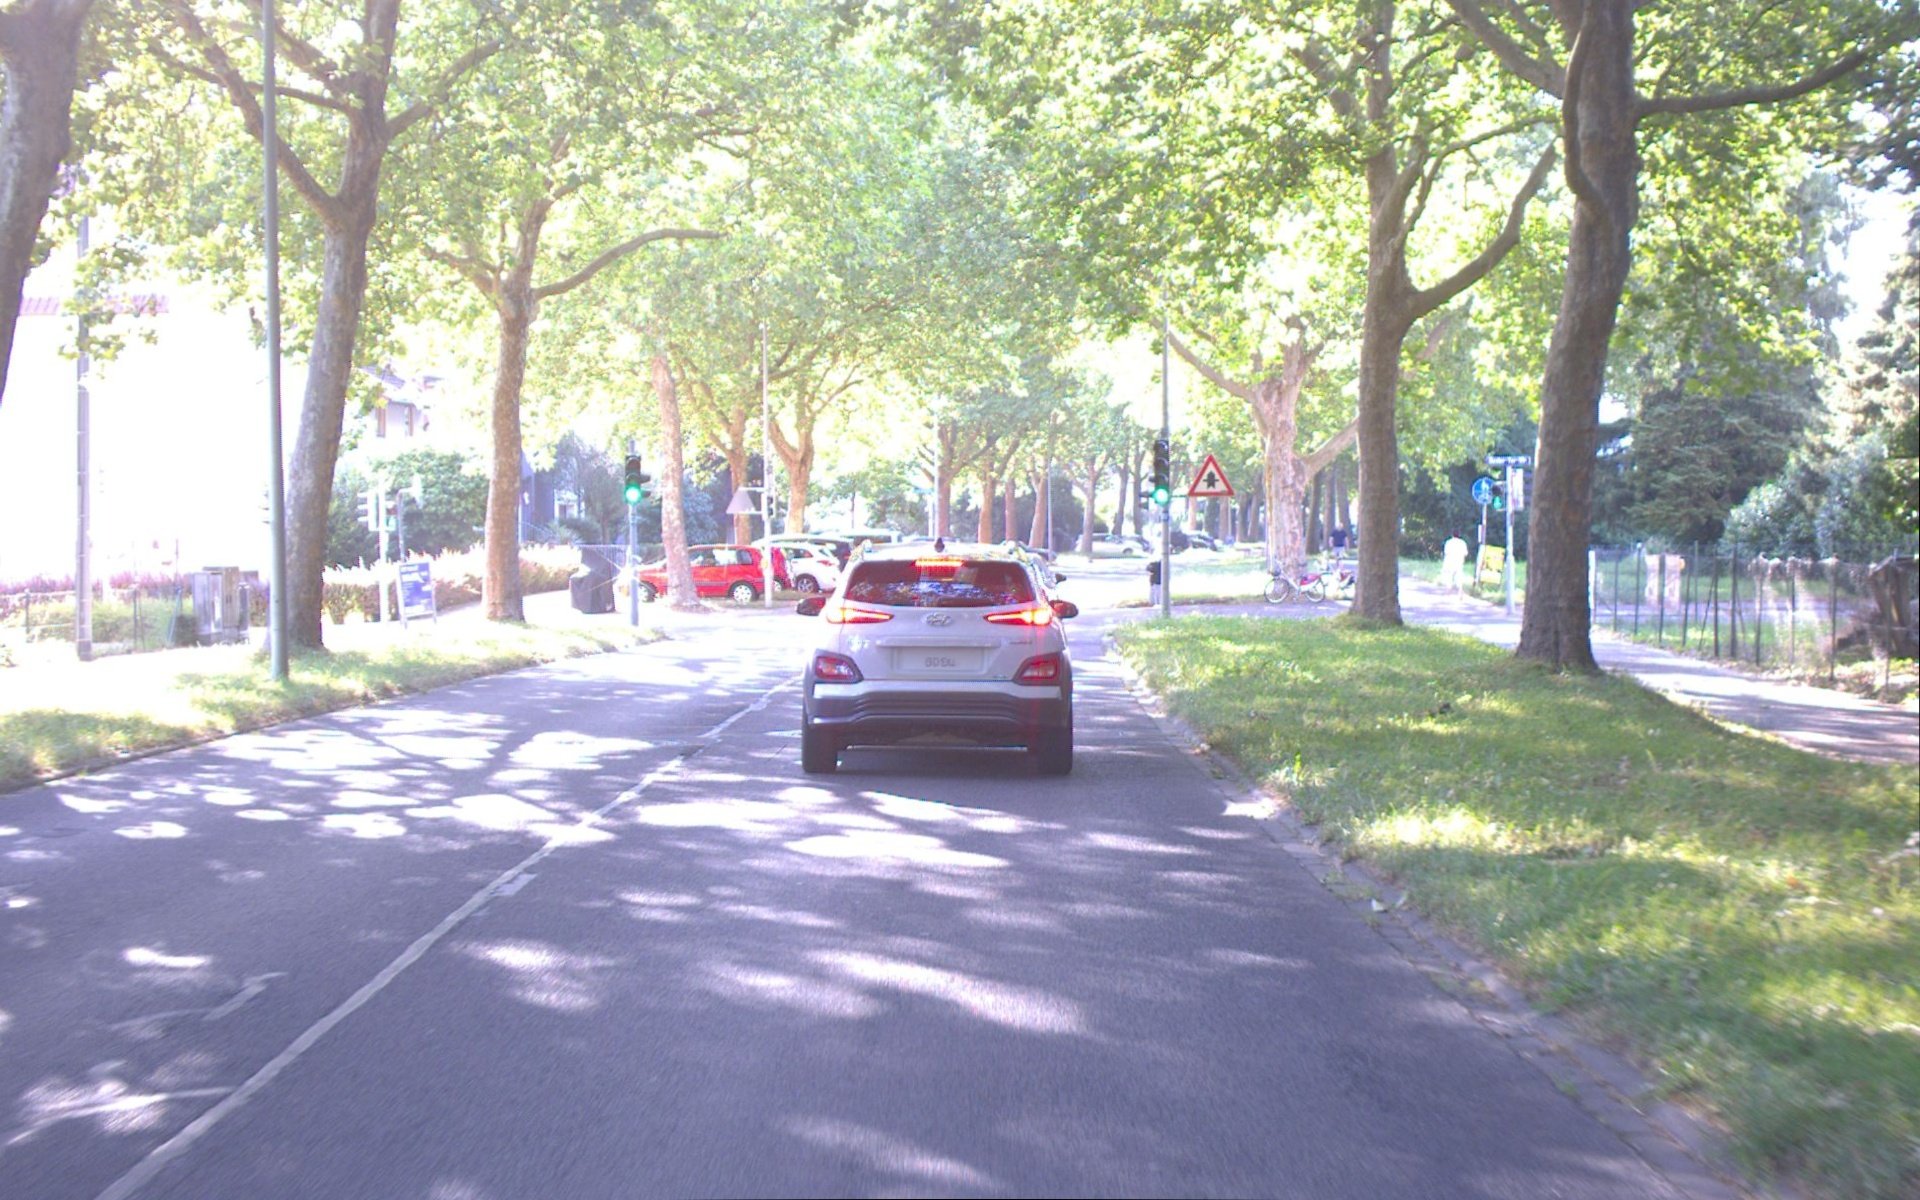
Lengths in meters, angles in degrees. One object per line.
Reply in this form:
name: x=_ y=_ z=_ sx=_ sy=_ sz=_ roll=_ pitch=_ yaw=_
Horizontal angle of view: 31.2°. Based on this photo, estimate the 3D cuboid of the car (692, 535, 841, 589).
car: x=-5.447 y=-1.074 z=97.151 sx=3.987 sy=1.473 sz=2.000 roll=1 pitch=0 yaw=4

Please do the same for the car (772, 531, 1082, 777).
car: x=-0.180 y=0.326 z=24.307 sx=1.993 sy=1.569 sz=4.000 roll=1 pitch=1 yaw=1

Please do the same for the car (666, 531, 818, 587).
car: x=-5.992 y=-1.117 z=94.784 sx=3.987 sy=1.473 sz=2.000 roll=1 pitch=0 yaw=2

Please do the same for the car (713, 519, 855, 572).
car: x=-5.159 y=-1.591 z=101.038 sx=3.987 sy=1.473 sz=2.000 roll=1 pitch=0 yaw=2

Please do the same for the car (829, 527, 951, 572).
car: x=-2.362 y=-1.719 z=116.801 sx=3.987 sy=1.473 sz=2.000 roll=1 pitch=0 yaw=2

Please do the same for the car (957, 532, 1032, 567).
car: x=1.760 y=-2.631 z=178.449 sx=3.668 sy=1.802 sz=1.749 roll=0 pitch=1 yaw=-7

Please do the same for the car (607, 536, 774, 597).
car: x=-6.814 y=-0.855 z=87.177 sx=3.987 sy=1.473 sz=2.000 roll=1 pitch=0 yaw=2

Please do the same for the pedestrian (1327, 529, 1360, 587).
pedestrian: x=13.501 y=-1.494 z=121.002 sx=1.095 sy=2.007 sz=1.105 roll=1 pitch=1 yaw=8

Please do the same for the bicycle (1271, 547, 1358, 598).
bicycle: x=8.253 y=-0.651 z=80.101 sx=0.603 sy=1.160 sz=2.149 roll=0 pitch=1 yaw=-42

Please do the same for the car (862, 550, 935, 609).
car: x=-1.579 y=-0.561 z=89.406 sx=1.688 sy=1.432 sz=3.682 roll=1 pitch=2 yaw=2

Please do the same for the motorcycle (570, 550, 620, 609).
motorcycle: x=-8.752 y=-0.492 z=82.577 sx=0.846 sy=1.374 sz=2.776 roll=1 pitch=0 yaw=1

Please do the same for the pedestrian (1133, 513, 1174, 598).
pedestrian: x=4.636 y=-1.062 z=82.311 sx=0.868 sy=2.007 sz=0.813 roll=1 pitch=0 yaw=10

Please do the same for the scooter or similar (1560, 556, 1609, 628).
scooter or similar: x=11.168 y=-0.144 z=61.519 sx=0.549 sy=1.254 sz=2.313 roll=1 pitch=0 yaw=2

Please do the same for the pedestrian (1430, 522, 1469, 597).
pedestrian: x=11.401 y=-0.941 z=80.079 sx=0.834 sy=1.730 sz=0.884 roll=1 pitch=0 yaw=10

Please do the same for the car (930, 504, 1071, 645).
car: x=0.566 y=-0.384 z=51.290 sx=1.993 sy=2.007 sz=4.000 roll=1 pitch=0 yaw=0

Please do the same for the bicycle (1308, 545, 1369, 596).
bicycle: x=8.920 y=-0.707 z=81.163 sx=0.603 sy=1.179 sz=2.119 roll=1 pitch=0 yaw=-18
